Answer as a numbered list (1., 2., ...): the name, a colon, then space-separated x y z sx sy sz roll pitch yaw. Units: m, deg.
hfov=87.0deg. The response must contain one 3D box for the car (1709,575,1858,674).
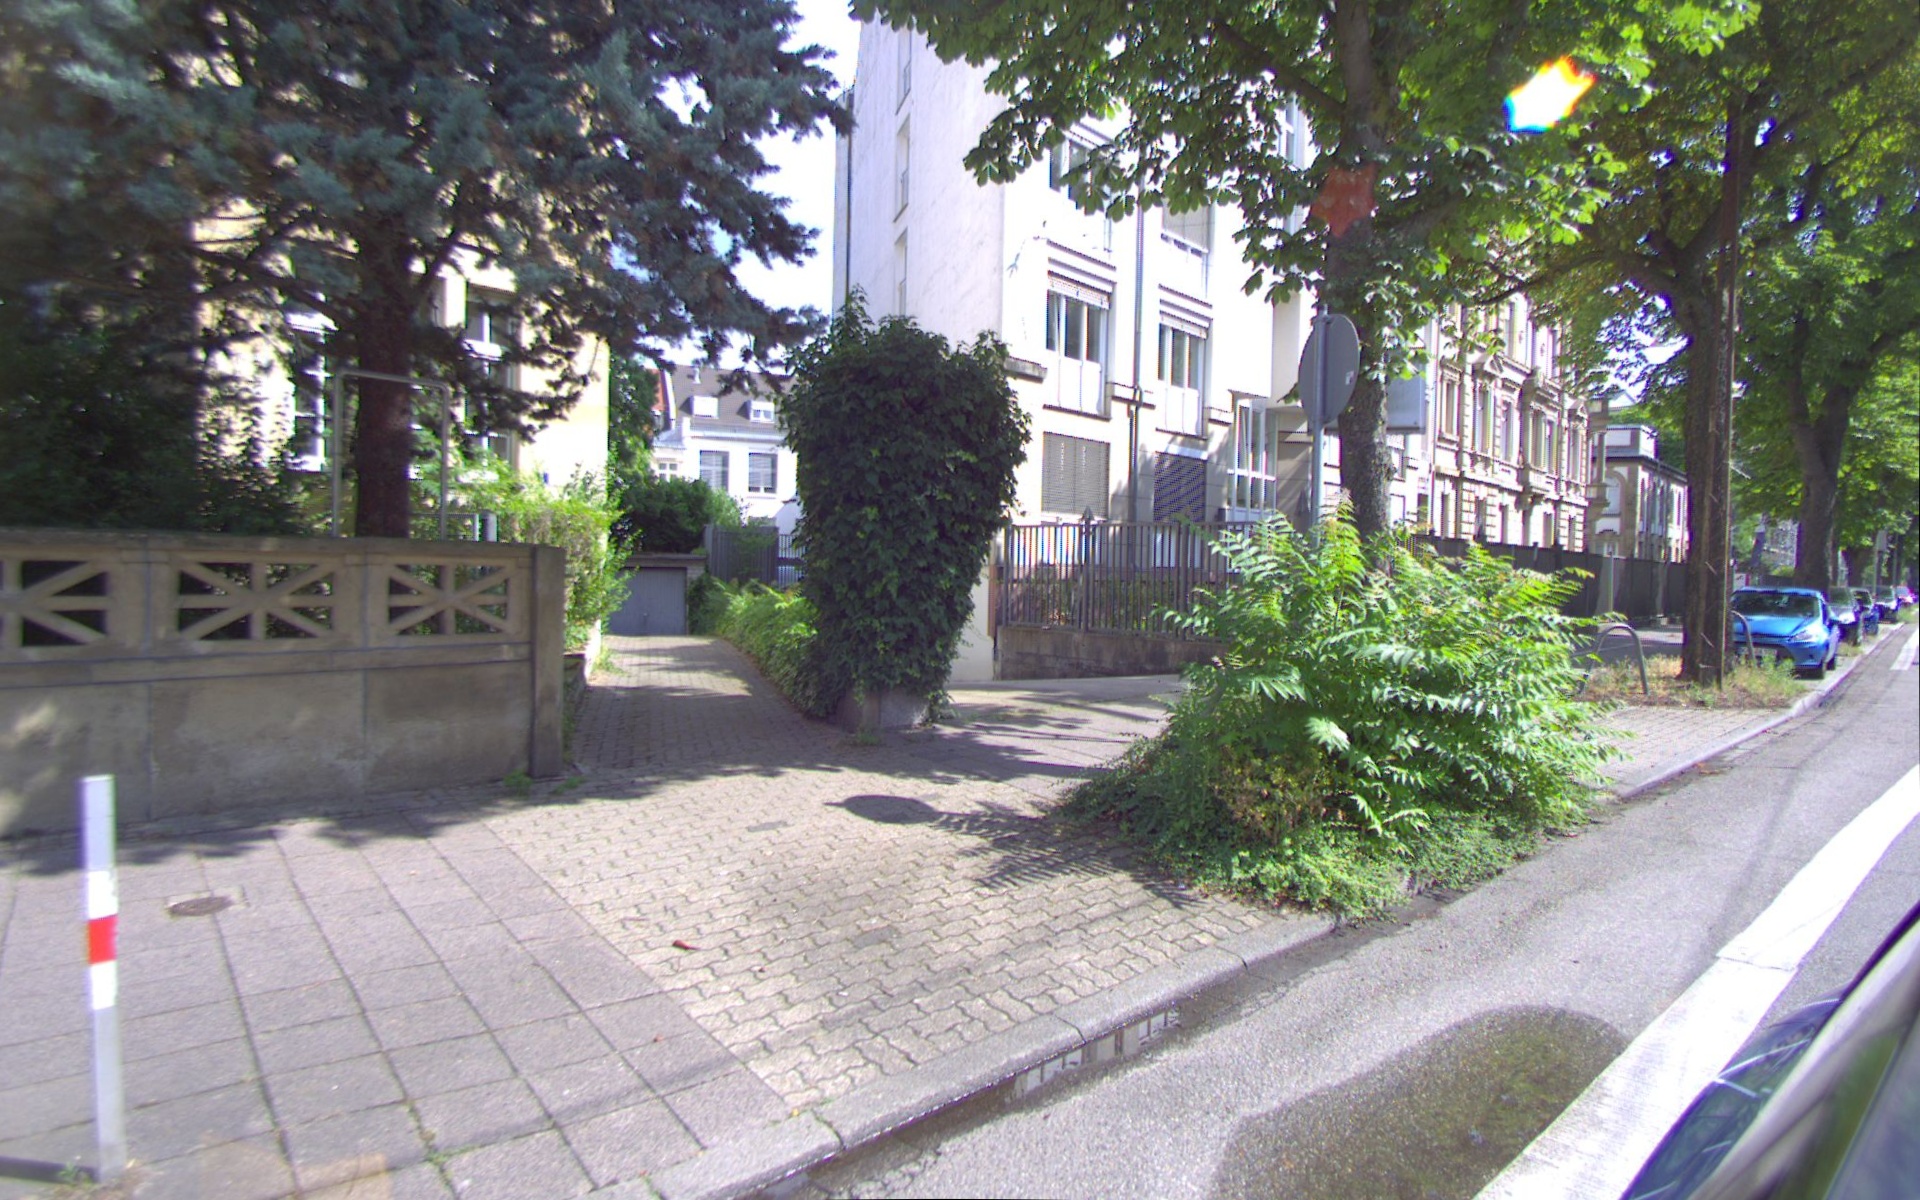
1. car: 14.511 0.349 17.775 1.639 1.472 3.640 5 4 44

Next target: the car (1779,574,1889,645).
1. car: 21.627 0.182 25.003 3.562 1.526 1.643 -1 5 -44

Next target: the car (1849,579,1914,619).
1. car: 40.180 -0.091 44.085 4.131 1.549 1.771 -1 5 -44

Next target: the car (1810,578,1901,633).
1. car: 27.224 0.112 30.718 3.862 1.469 1.722 -1 5 -44

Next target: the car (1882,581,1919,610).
1. car: 56.084 -0.285 60.003 4.131 1.591 1.771 -1 5 -44
